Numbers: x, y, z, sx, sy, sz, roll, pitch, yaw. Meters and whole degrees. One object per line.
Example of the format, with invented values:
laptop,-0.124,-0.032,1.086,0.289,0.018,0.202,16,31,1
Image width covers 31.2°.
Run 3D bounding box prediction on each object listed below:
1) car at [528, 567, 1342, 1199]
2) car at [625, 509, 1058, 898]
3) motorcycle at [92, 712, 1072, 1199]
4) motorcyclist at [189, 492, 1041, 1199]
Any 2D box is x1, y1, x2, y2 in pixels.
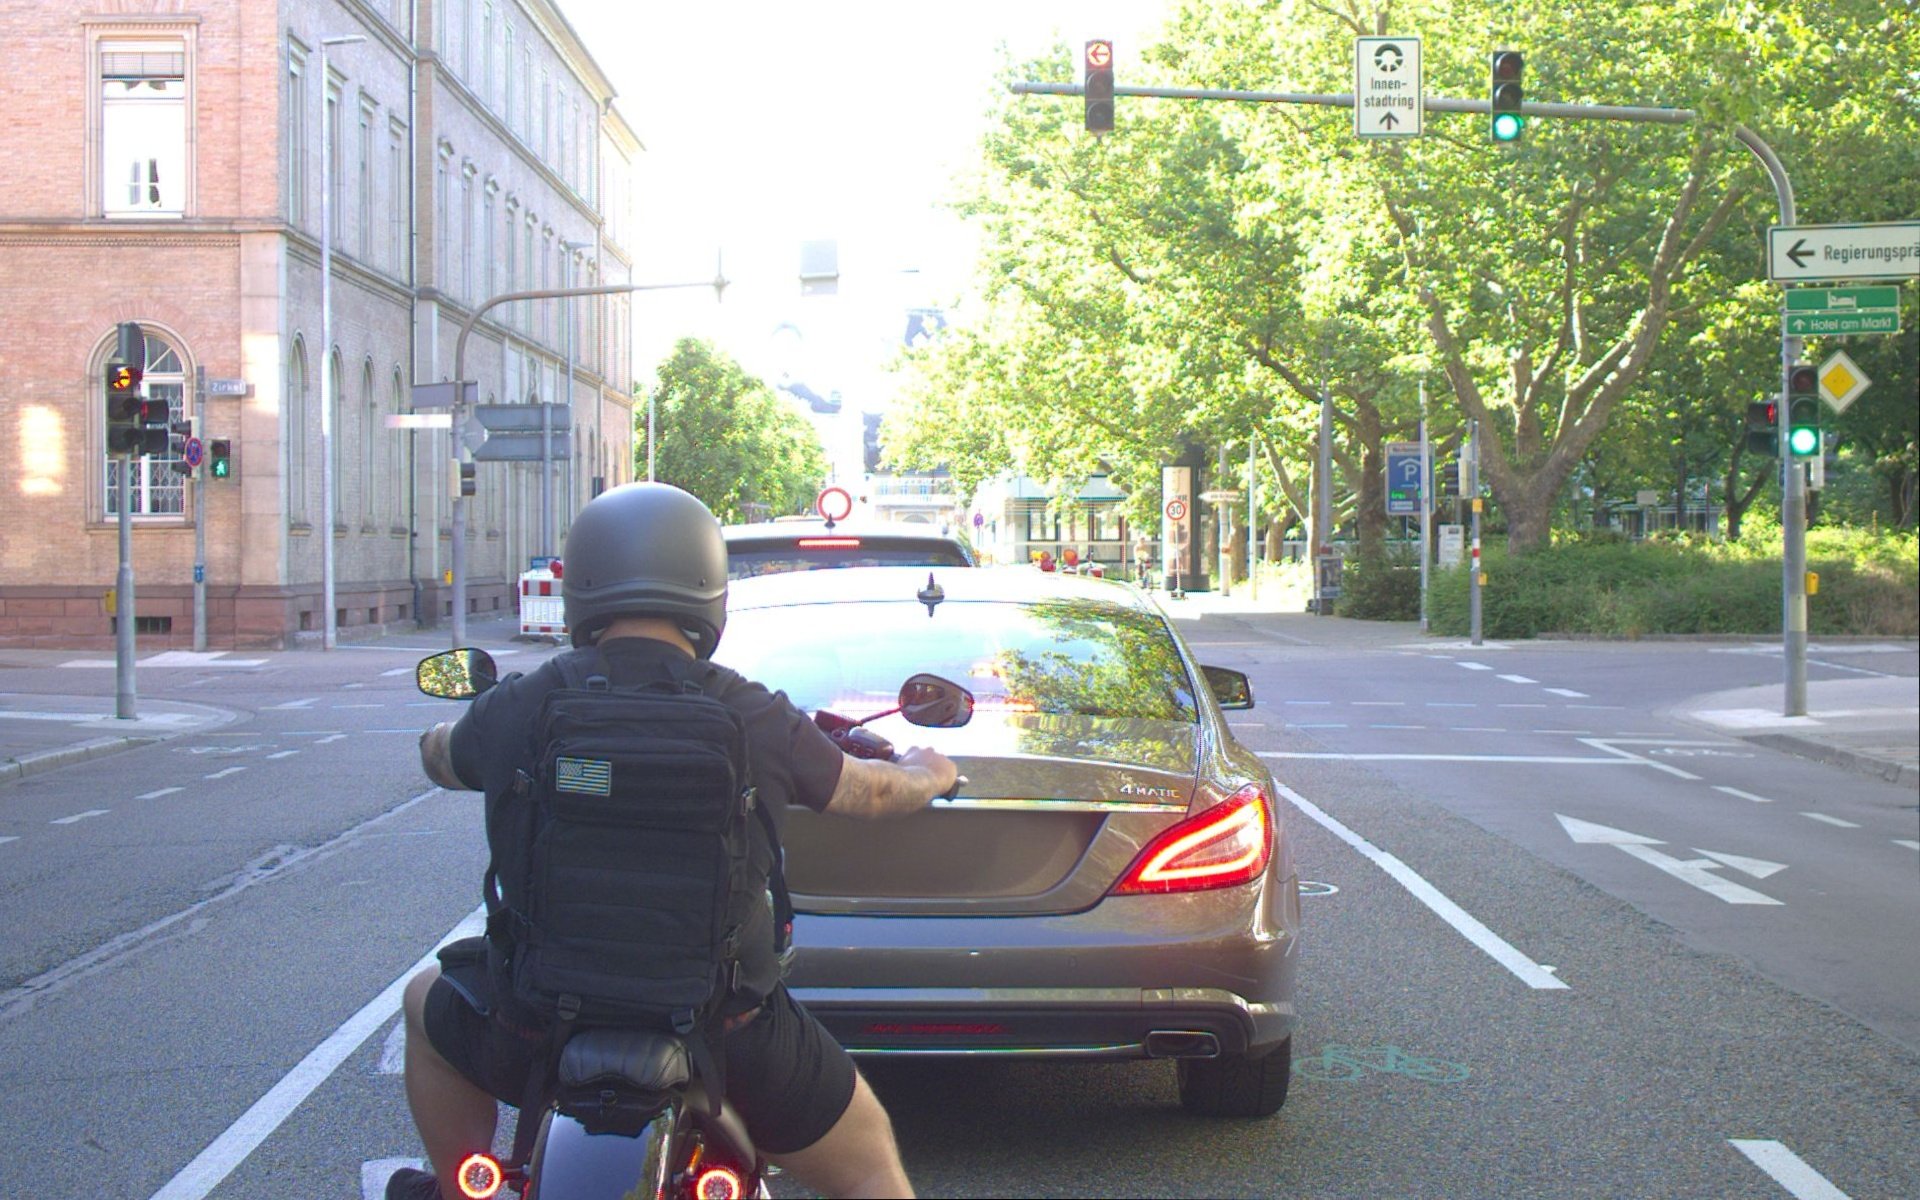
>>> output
car,-0.079,0.638,9.680,1.822,1.432,3.806,1,1,-1
car,-0.537,0.431,16.957,1.863,1.672,4.000,1,1,-1
motorcycle,-0.462,0.836,5.515,1.118,1.203,2.212,1,1,6
motorcyclist,-0.476,0.632,5.292,1.099,1.560,1.071,1,0,6
